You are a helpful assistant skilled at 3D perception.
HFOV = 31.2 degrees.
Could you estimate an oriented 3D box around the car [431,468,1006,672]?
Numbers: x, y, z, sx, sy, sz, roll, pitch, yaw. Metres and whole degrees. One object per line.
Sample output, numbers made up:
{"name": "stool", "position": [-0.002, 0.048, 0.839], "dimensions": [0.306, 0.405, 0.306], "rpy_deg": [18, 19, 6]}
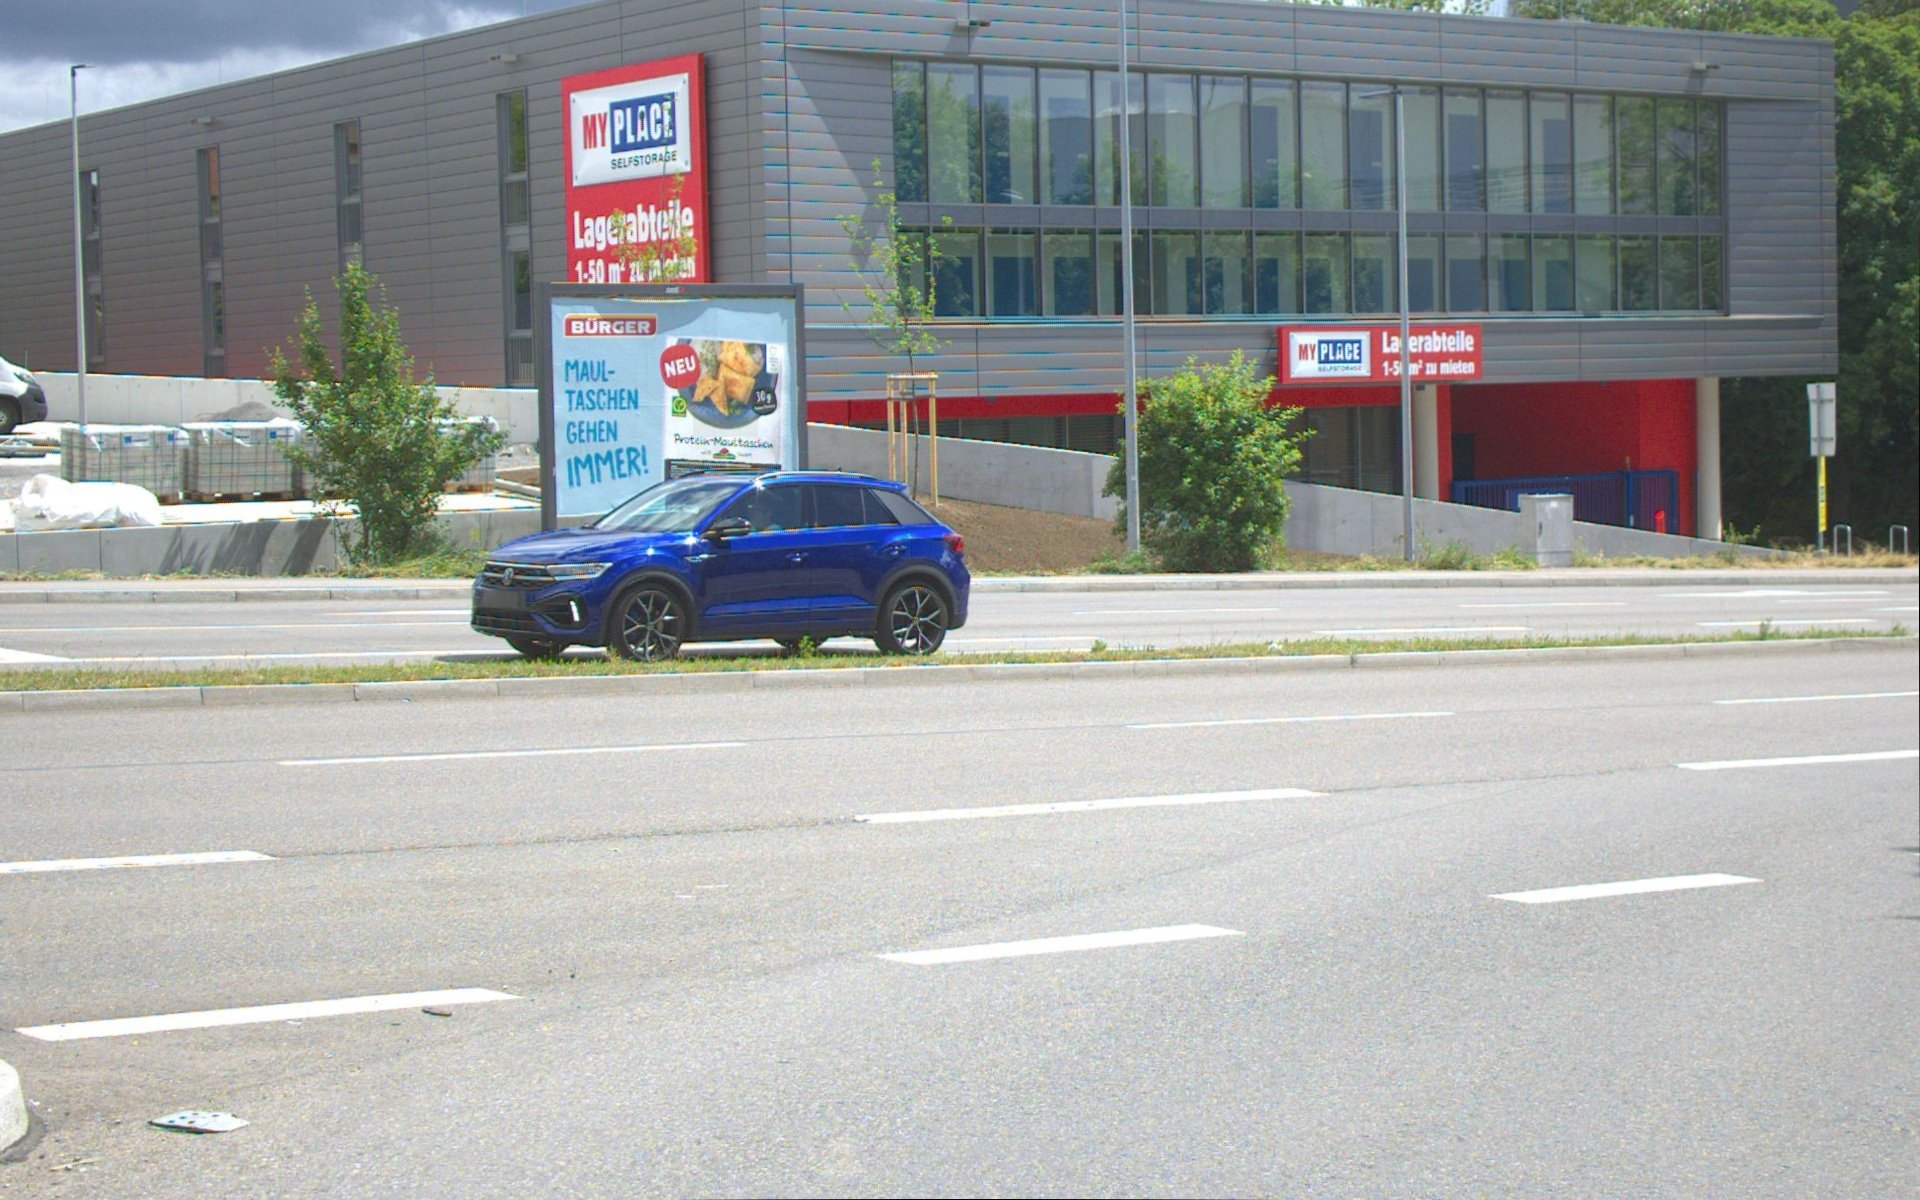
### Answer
{"name": "car", "position": [-1.919, -0.290, 28.001], "dimensions": [4.385, 1.505, 1.810], "rpy_deg": [-1, 4, -37]}

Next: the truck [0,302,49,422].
{"name": "truck", "position": [-20.122, -4.185, 62.425], "dimensions": [6.558, 2.137, 2.001], "rpy_deg": [-5, 5, -24]}
